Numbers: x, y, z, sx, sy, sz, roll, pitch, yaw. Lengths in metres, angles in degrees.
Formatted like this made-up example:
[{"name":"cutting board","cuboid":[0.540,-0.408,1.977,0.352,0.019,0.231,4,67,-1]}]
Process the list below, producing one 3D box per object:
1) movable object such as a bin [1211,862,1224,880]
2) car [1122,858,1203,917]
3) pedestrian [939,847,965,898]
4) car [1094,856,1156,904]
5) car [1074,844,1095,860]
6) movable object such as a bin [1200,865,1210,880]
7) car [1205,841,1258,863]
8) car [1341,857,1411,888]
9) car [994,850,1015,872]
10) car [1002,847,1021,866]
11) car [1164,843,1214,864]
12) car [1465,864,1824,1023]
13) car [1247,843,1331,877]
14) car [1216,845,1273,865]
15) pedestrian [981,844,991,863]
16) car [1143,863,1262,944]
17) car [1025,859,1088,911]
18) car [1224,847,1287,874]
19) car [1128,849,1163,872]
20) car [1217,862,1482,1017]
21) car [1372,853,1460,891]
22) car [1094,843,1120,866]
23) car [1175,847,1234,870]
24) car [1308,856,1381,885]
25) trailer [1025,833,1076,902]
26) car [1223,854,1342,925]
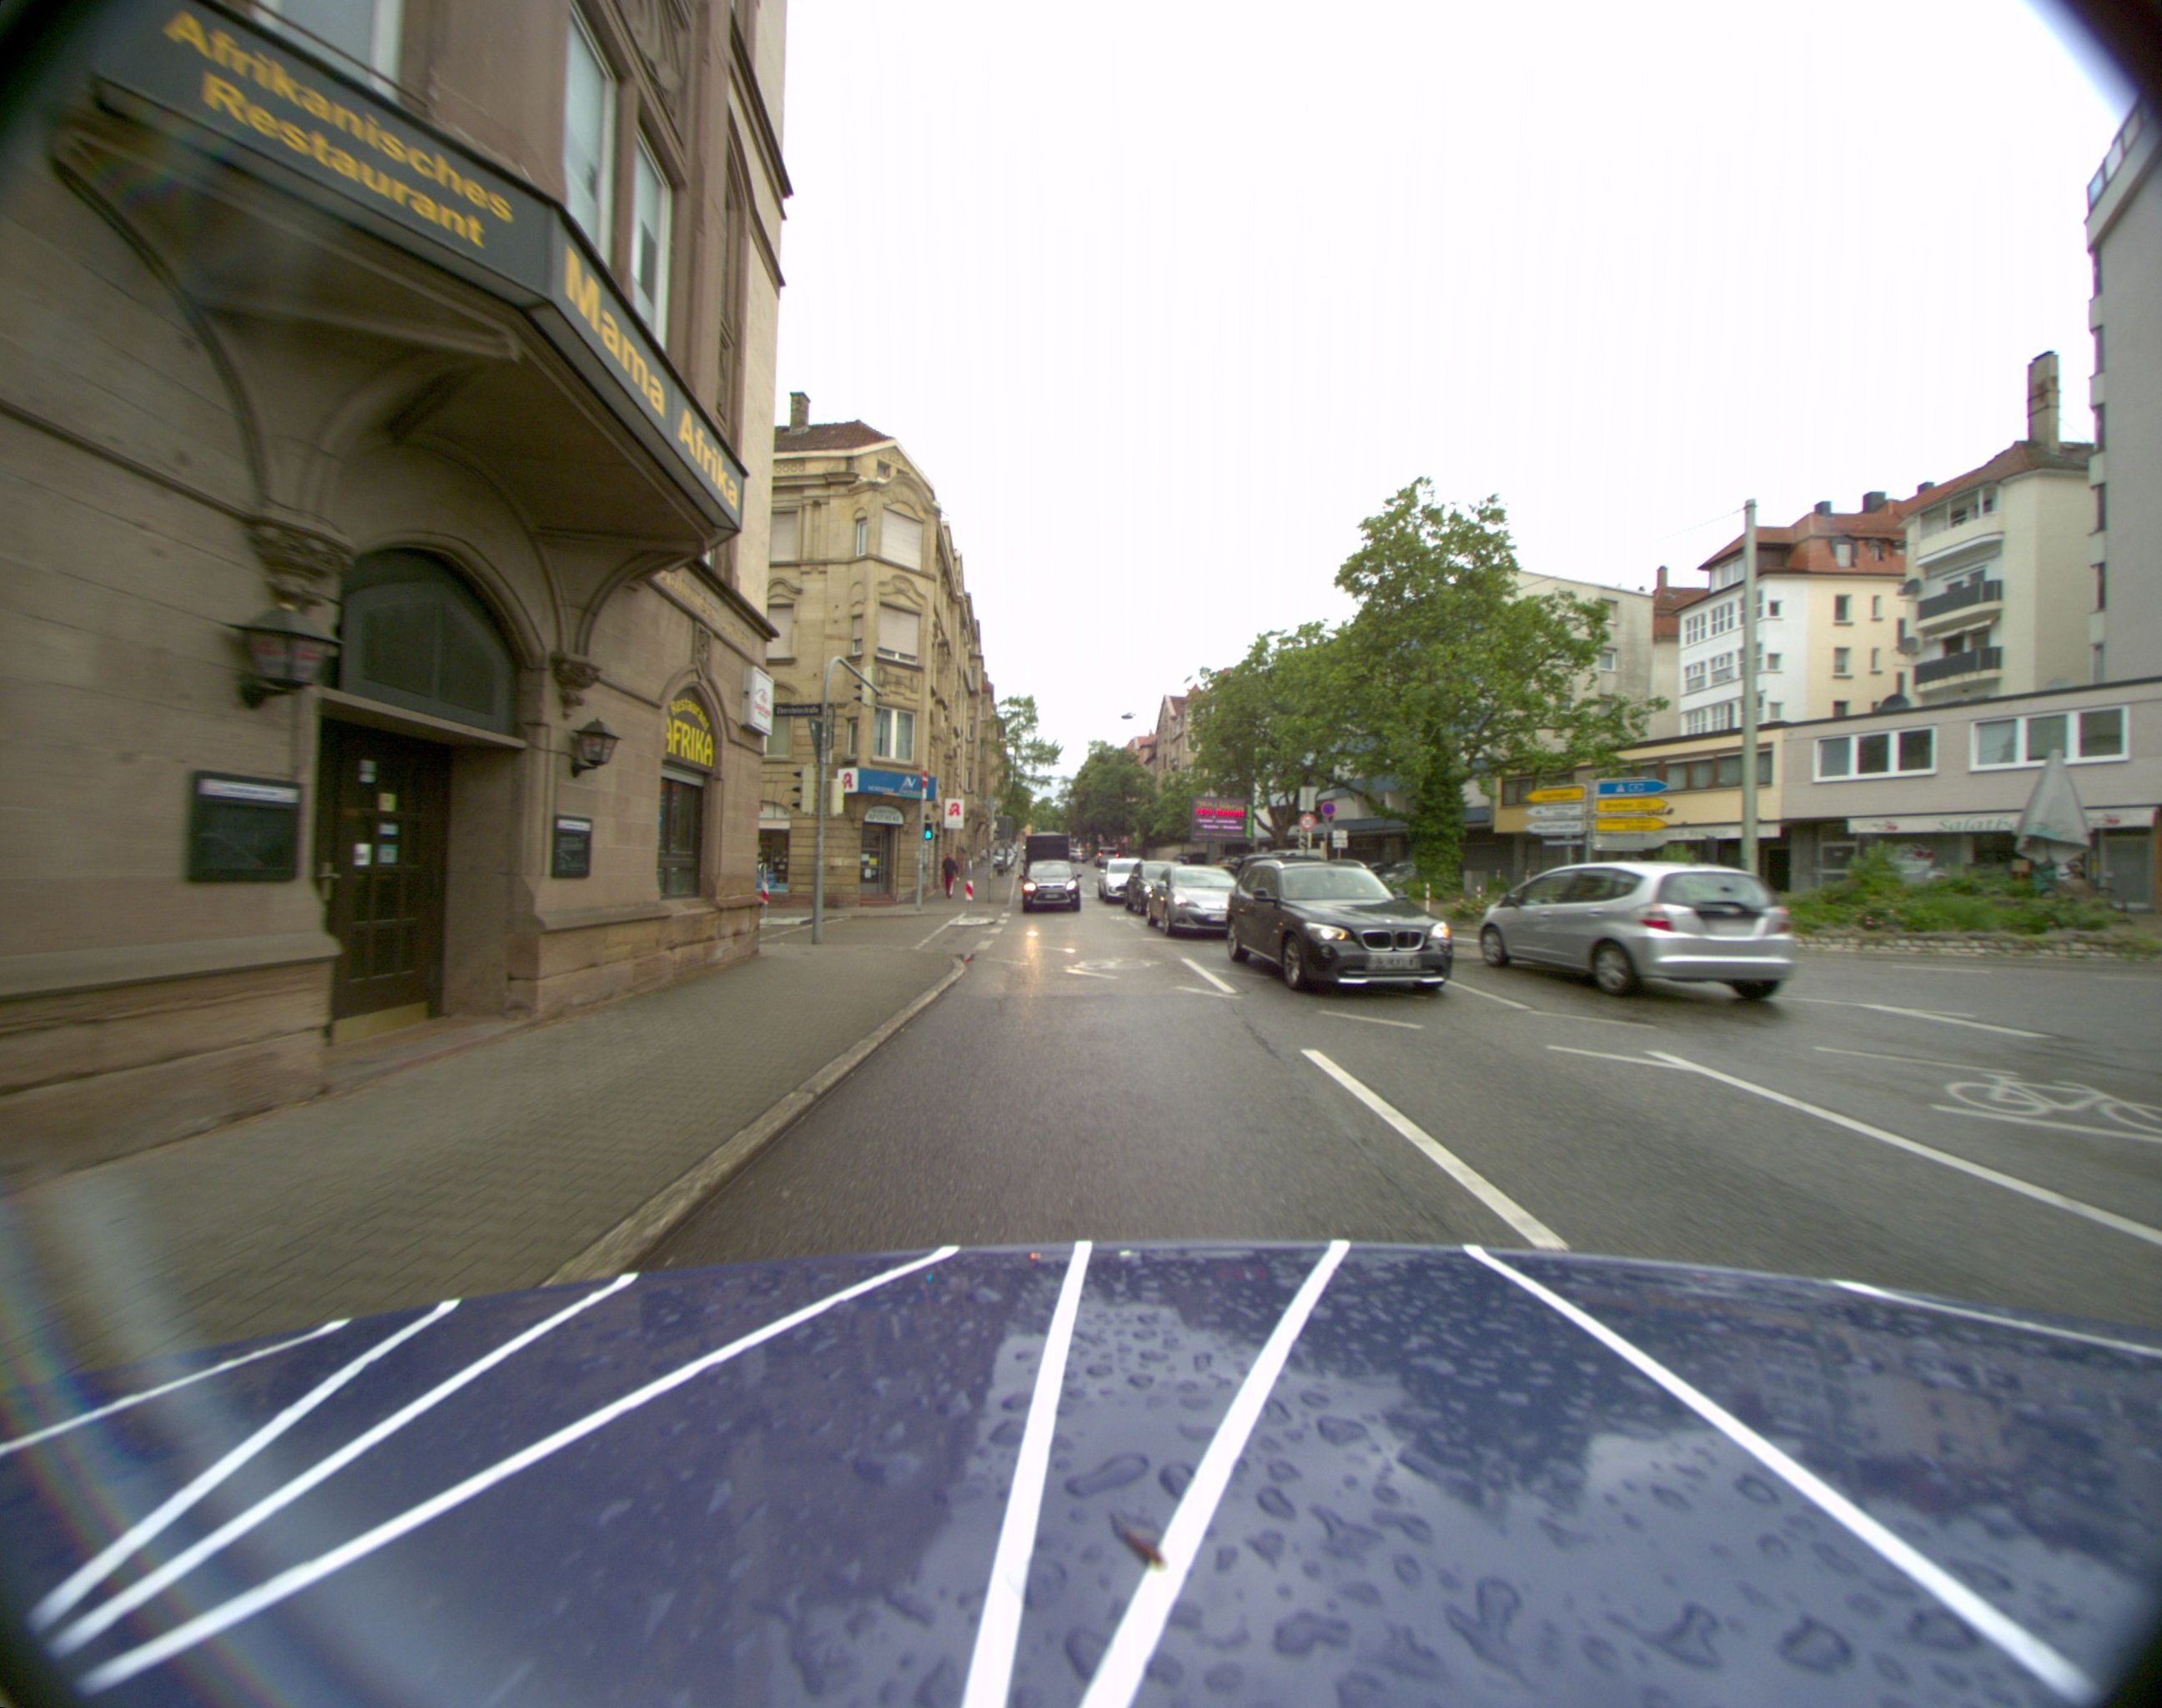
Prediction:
[{"name":"movable object such as a bin","cuboid":[8.385,1.068,46.641,0.643,1.073,0.627,0,2,-7]},{"name":"car","cuboid":[2.436,0.984,23.771,1.757,1.634,4.211,-1,-1,-4]},{"name":"pedestrian","cuboid":[-5.167,0.719,30.436,0.699,1.939,1.090,3,3,4]},{"name":"car","cuboid":[1.643,0.952,29.870,1.757,1.635,4.375,-1,1,-5]},{"name":"car","cuboid":[0.344,-0.216,79.082,1.731,1.440,4.322,3,1,-6]},{"name":"movable object such as a bin","cuboid":[7.642,1.168,46.958,0.485,0.896,0.546,0,2,-7]},{"name":"car","cuboid":[11.327,-0.179,56.955,3.842,1.398,1.676,-4,3,-35]},{"name":"car","cuboid":[15.442,0.937,39.694,3.628,1.408,1.626,-2,2,-34]},{"name":"car","cuboid":[-6.366,0.561,63.109,1.527,1.609,3.490,4,2,-5]},{"name":"car","cuboid":[-6.263,0.222,68.543,1.547,1.478,3.760,4,1,-5]},{"name":"car","cuboid":[8.940,-0.079,62.781,3.842,1.523,1.766,-3,3,-32]},{"name":"car","cuboid":[6.590,0.921,9.493,1.629,1.509,3.871,-1,0,0]},{"name":"car","cuboid":[12.823,0.314,46.788,4.982,1.966,1.876,-1,2,-24]},{"name":"car","cuboid":[11.831,0.035,54.972,3.841,1.397,1.687,-1,2,-25]},{"name":"pedestrian","cuboid":[-7.699,-0.031,61.530,0.645,1.489,0.690,4,5,-5]},{"name":"car","cuboid":[2.499,0.978,16.599,1.757,1.474,4.179,0,0,-2]},{"name":"car","cuboid":[-0.881,0.959,25.053,1.863,1.504,3.680,1,1,-5]},{"name":"car","cuboid":[11.885,0.416,51.755,3.841,1.680,1.802,0,2,-23]},{"name":"car","cuboid":[4.317,0.441,51.429,1.719,1.488,3.680,0,0,-5]},{"name":"car","cuboid":[3.150,0.894,9.921,1.757,1.526,4.213,-1,0,-3]},{"name":"car","cuboid":[16.422,0.841,37.196,4.223,1.633,1.936,-2,2,-34]},{"name":"car","cuboid":[2.301,0.029,68.588,1.819,1.871,4.239,4,1,-5]},{"name":"car","cuboid":[9.646,0.332,59.400,4.318,1.584,1.807,-2,3,-28]},{"name":"car","cuboid":[14.579,0.863,42.023,3.710,1.408,1.807,-1,2,-30]},{"name":"trailer","cuboid":[-1.339,0.489,31.354,1.939,2.622,4.682,0,1,-4]},{"name":"car","cuboid":[5.880,0.964,22.686,1.748,1.836,4.141,1,1,-11]}]
